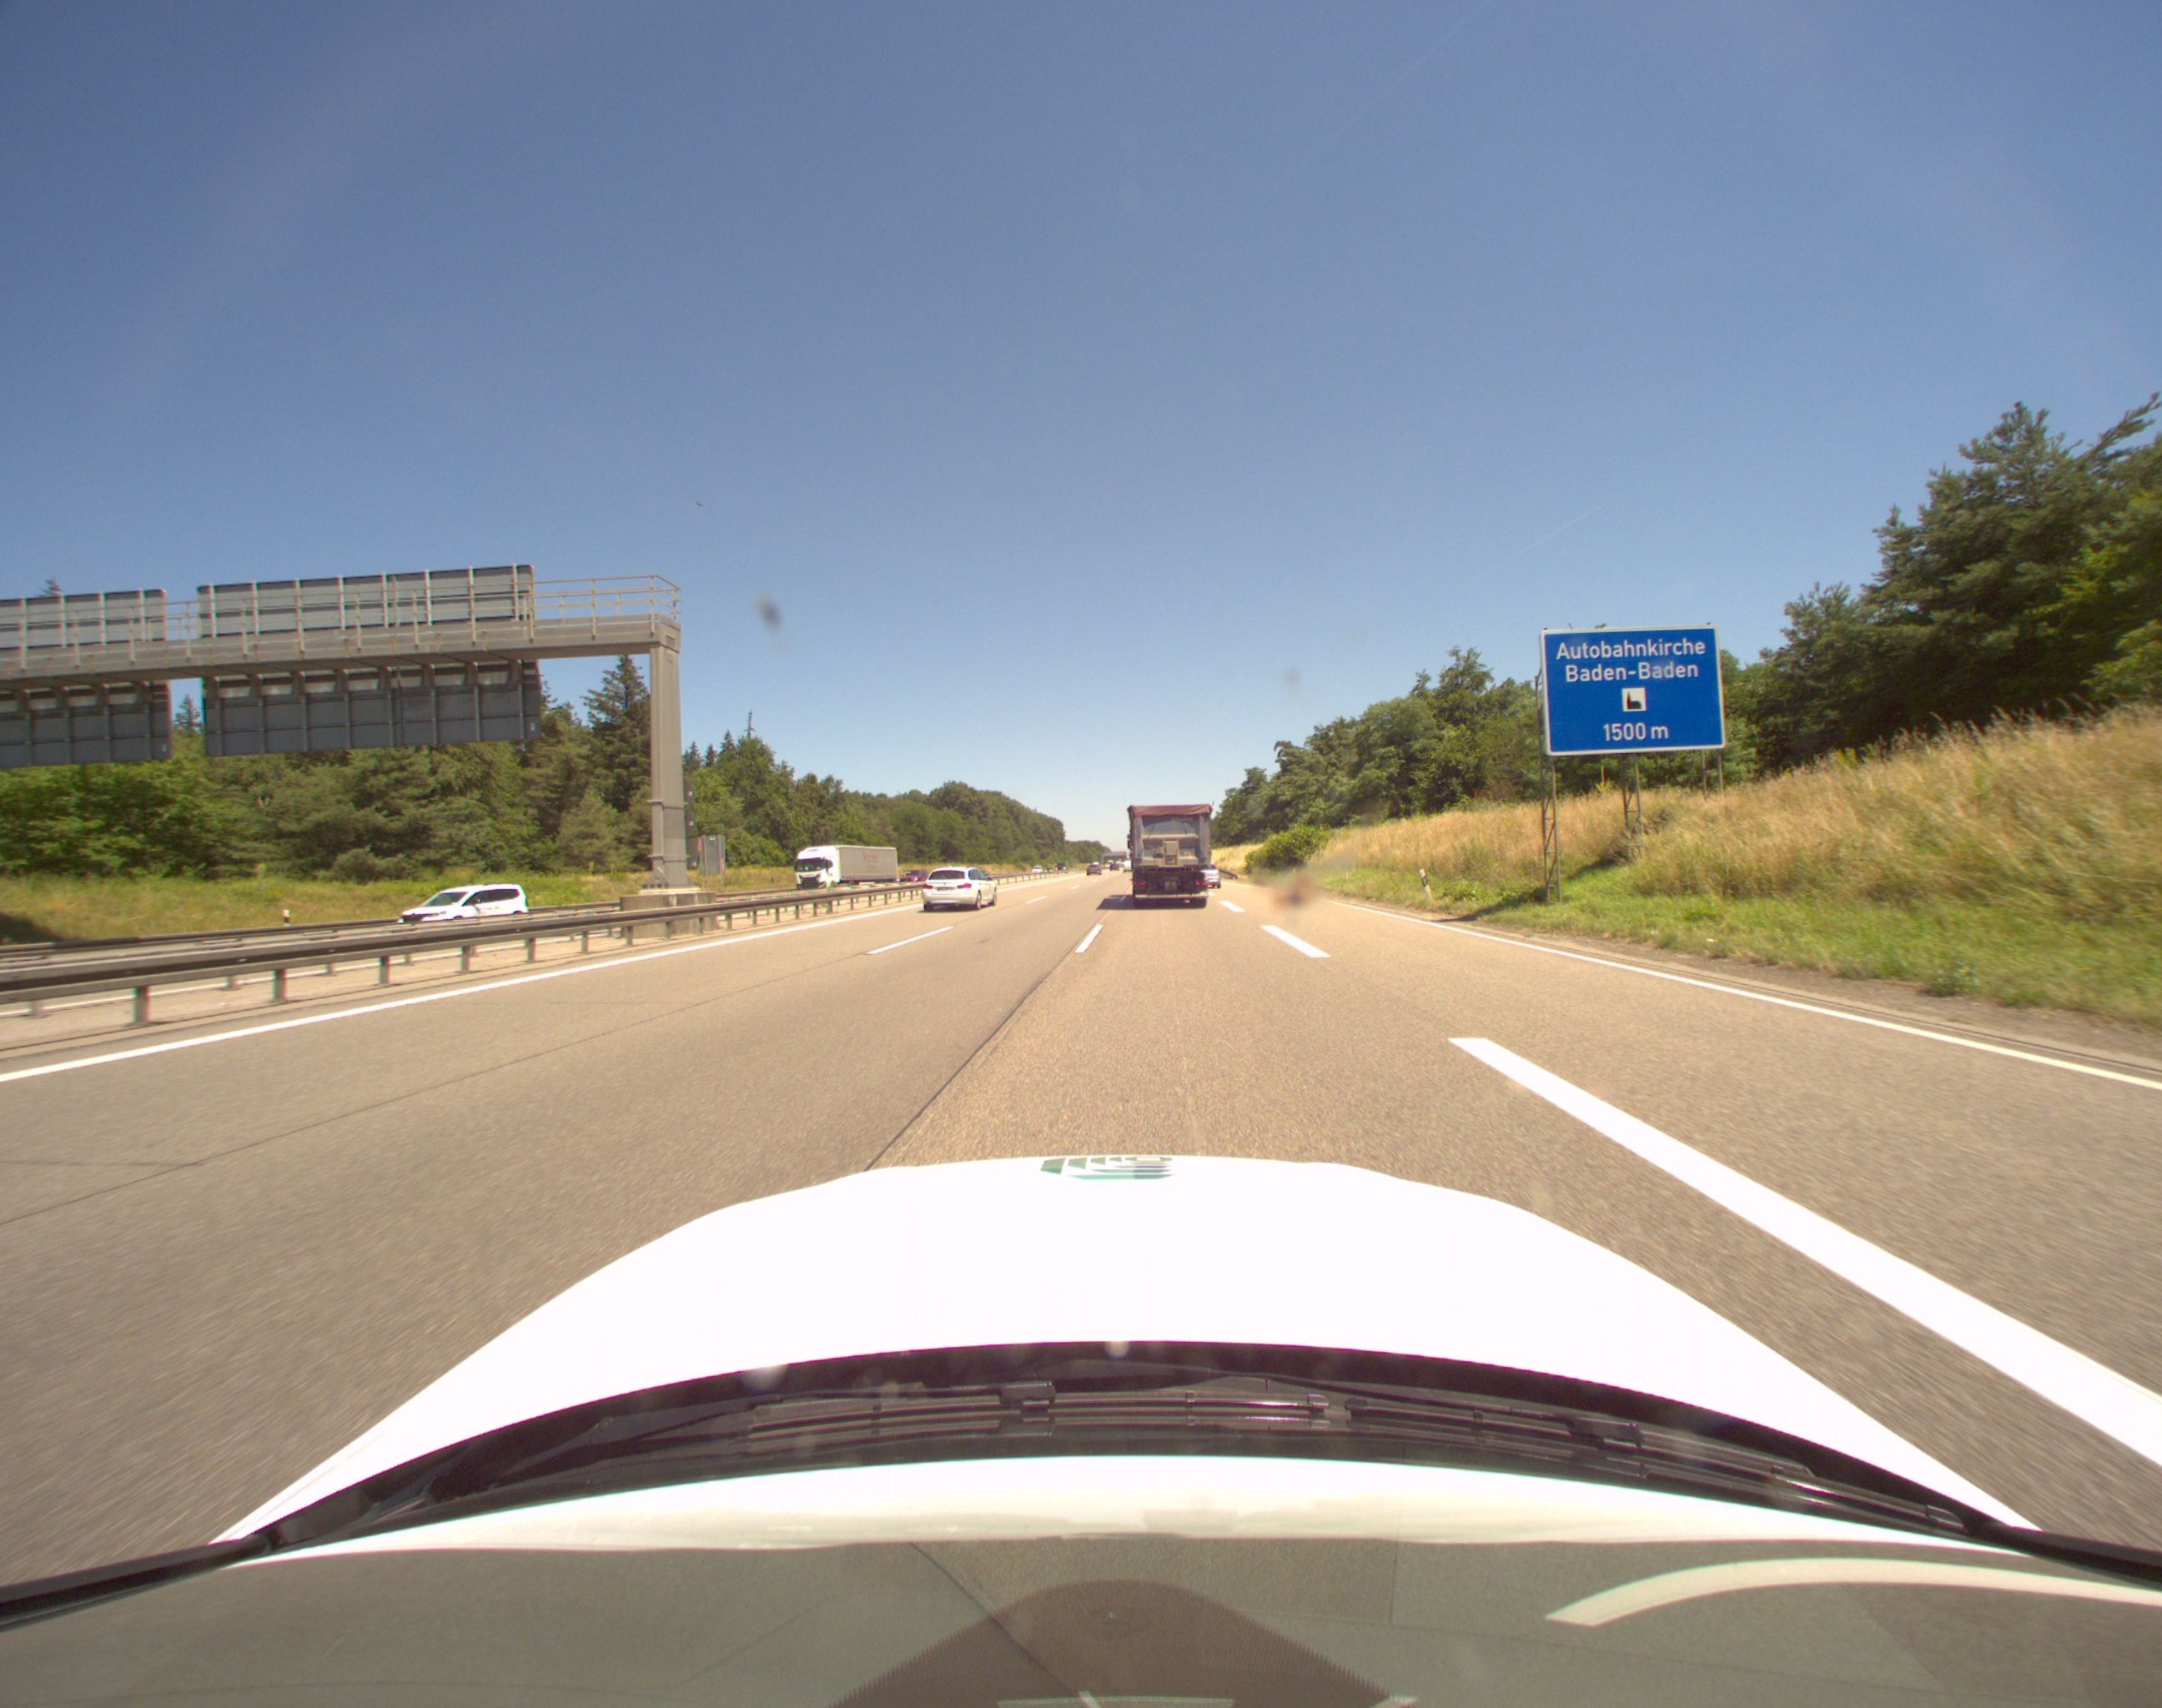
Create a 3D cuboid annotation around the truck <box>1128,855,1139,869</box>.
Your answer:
[{"bbox_3d":[11.631,1.815,180.608,2.418,2.884,6.210,-1,-1,3],"label":"truck"}]

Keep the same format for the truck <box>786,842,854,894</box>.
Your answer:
[{"bbox_3d":[-21.012,1.129,65.906,3.151,3.931,5.410,-1,-1,7],"label":"truck"}]

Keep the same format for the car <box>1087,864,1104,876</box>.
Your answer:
[{"bbox_3d":[1.858,2.028,105.305,1.823,1.431,5.006,-1,0,5],"label":"car"}]

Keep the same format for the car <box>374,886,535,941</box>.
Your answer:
[{"bbox_3d":[-23.599,2.165,30.972,1.984,1.750,4.997,-1,-1,5],"label":"car"}]

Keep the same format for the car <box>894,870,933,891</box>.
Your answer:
[{"bbox_3d":[-14.237,2.218,69.486,1.838,1.610,4.927,-1,-1,5],"label":"car"}]

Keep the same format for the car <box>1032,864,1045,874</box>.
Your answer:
[{"bbox_3d":[-9.207,3.245,175.570,1.984,1.828,4.648,-4,-1,5],"label":"car"}]

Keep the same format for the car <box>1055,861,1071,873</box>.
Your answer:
[{"bbox_3d":[-3.197,2.360,147.225,2.269,1.940,4.949,-3,-1,5],"label":"car"}]

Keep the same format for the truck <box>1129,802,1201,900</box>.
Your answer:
[{"bbox_3d":[3.476,-0.104,34.743,2.672,3.758,5.950,-2,0,4],"label":"truck"}]

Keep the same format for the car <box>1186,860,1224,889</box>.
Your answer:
[{"bbox_3d":[6.990,1.129,46.128,1.712,1.491,3.740,-1,0,3],"label":"car"}]

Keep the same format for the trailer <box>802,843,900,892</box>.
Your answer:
[{"bbox_3d":[-20.181,1.198,72.897,3.151,3.931,13.989,-1,-1,7],"label":"trailer"}]

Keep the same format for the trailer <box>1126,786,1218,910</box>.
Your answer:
[{"bbox_3d":[3.137,-0.177,29.726,2.725,3.758,9.118,-2,0,4],"label":"trailer"}]

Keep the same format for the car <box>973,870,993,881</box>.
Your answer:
[{"bbox_3d":[-14.354,3.109,119.491,1.918,1.463,4.949,-3,-1,5],"label":"car"}]

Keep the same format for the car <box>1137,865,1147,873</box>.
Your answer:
[{"bbox_3d":[11.061,2.685,147.727,1.726,1.492,3.742,-1,-1,5],"label":"car"}]

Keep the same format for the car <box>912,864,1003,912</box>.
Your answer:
[{"bbox_3d":[-4.241,1.145,28.911,1.954,1.504,5.411,-1,-1,5],"label":"car"}]

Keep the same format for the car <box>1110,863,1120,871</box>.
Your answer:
[{"bbox_3d":[6.716,2.571,161.623,1.867,1.580,3.933,-1,0,4],"label":"car"}]

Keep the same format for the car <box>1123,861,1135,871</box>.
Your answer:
[{"bbox_3d":[7.546,1.859,128.188,1.885,1.469,4.266,-1,0,4],"label":"car"}]

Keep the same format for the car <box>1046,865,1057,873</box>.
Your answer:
[{"bbox_3d":[-7.096,3.565,195.354,1.984,1.703,4.985,-4,-1,5],"label":"car"}]
